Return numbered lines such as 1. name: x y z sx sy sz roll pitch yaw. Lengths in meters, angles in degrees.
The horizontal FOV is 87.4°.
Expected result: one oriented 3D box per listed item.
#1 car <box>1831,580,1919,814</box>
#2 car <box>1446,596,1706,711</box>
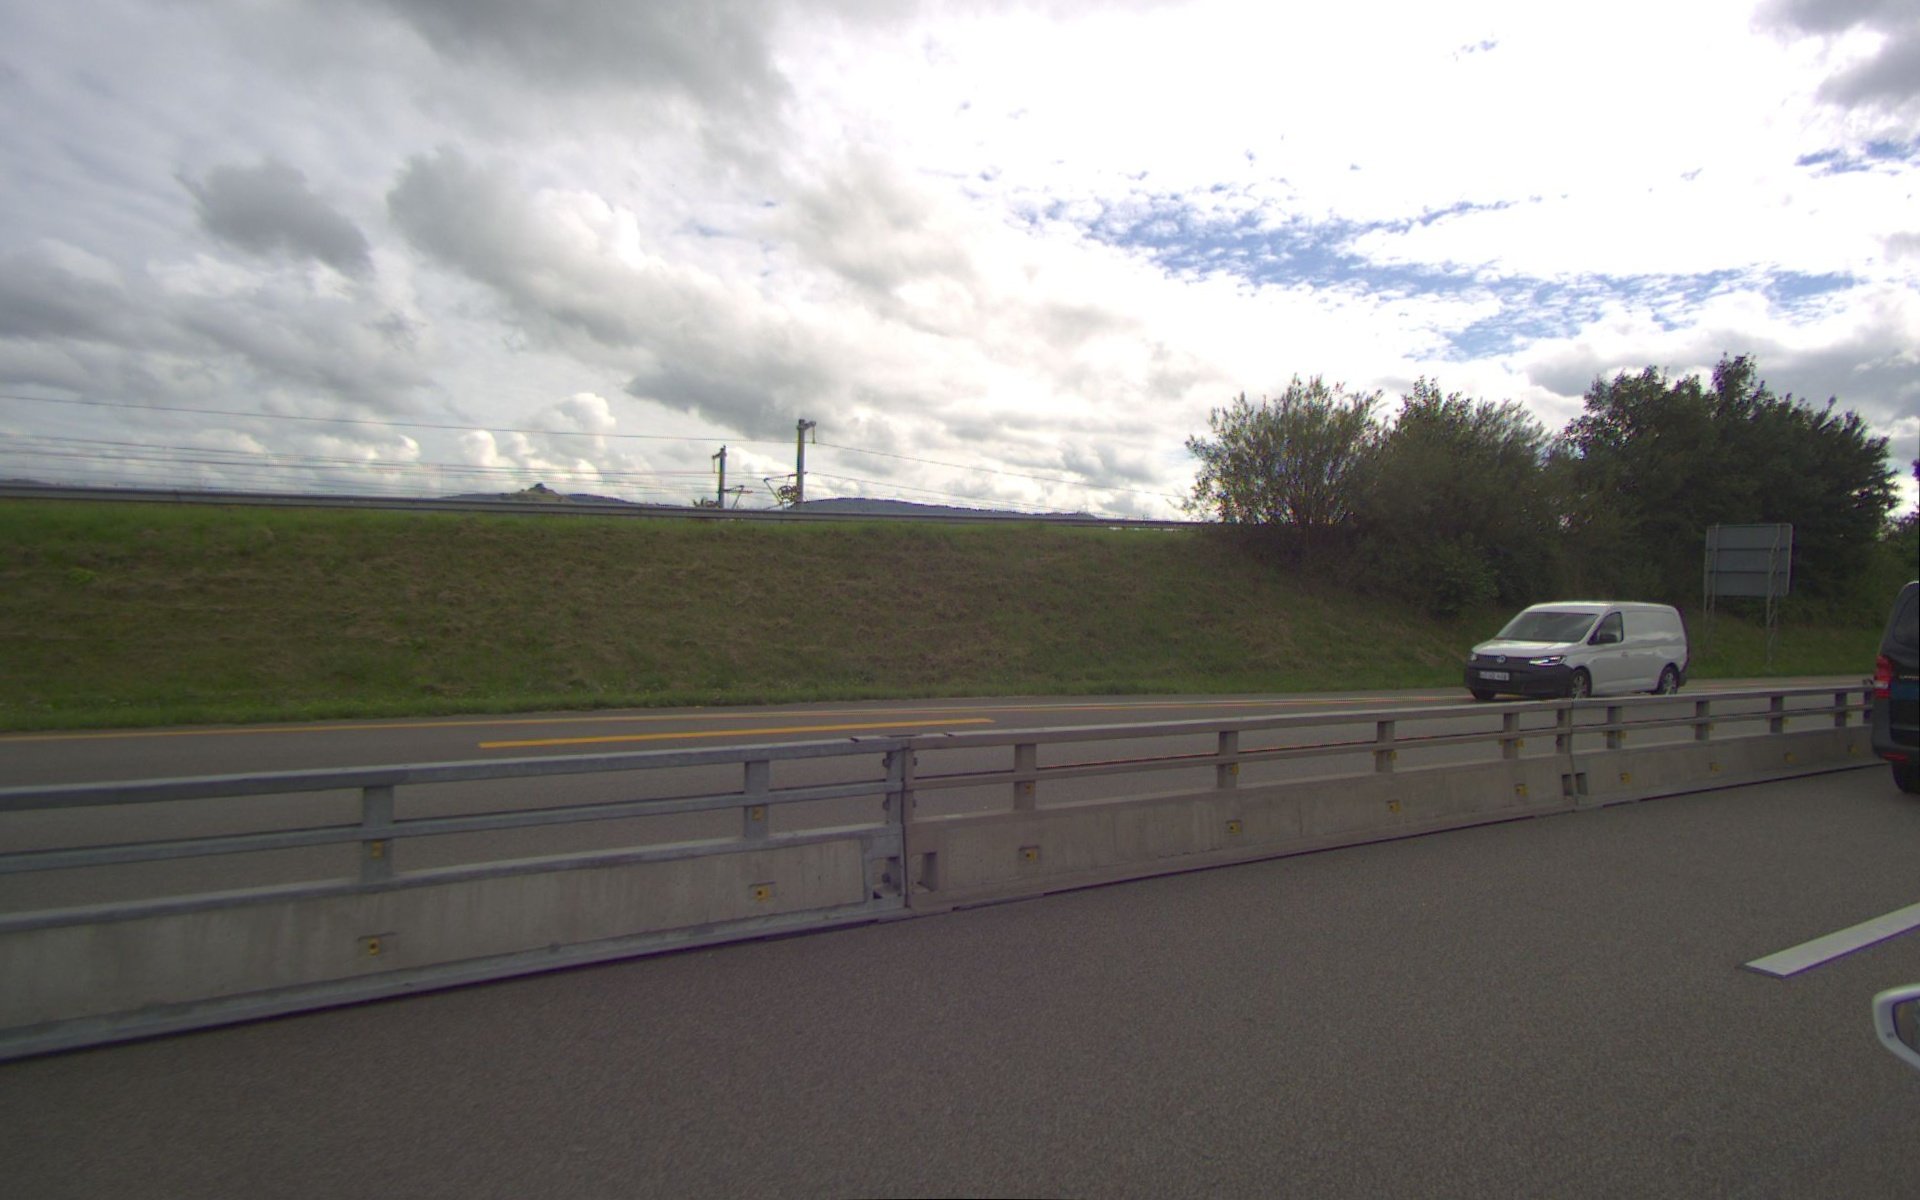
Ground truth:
1. car: 10.256 0.829 9.061 5.544 1.867 1.984 1 -1 -30
2. car: 11.171 0.895 18.128 4.877 1.815 1.983 1 0 -31
